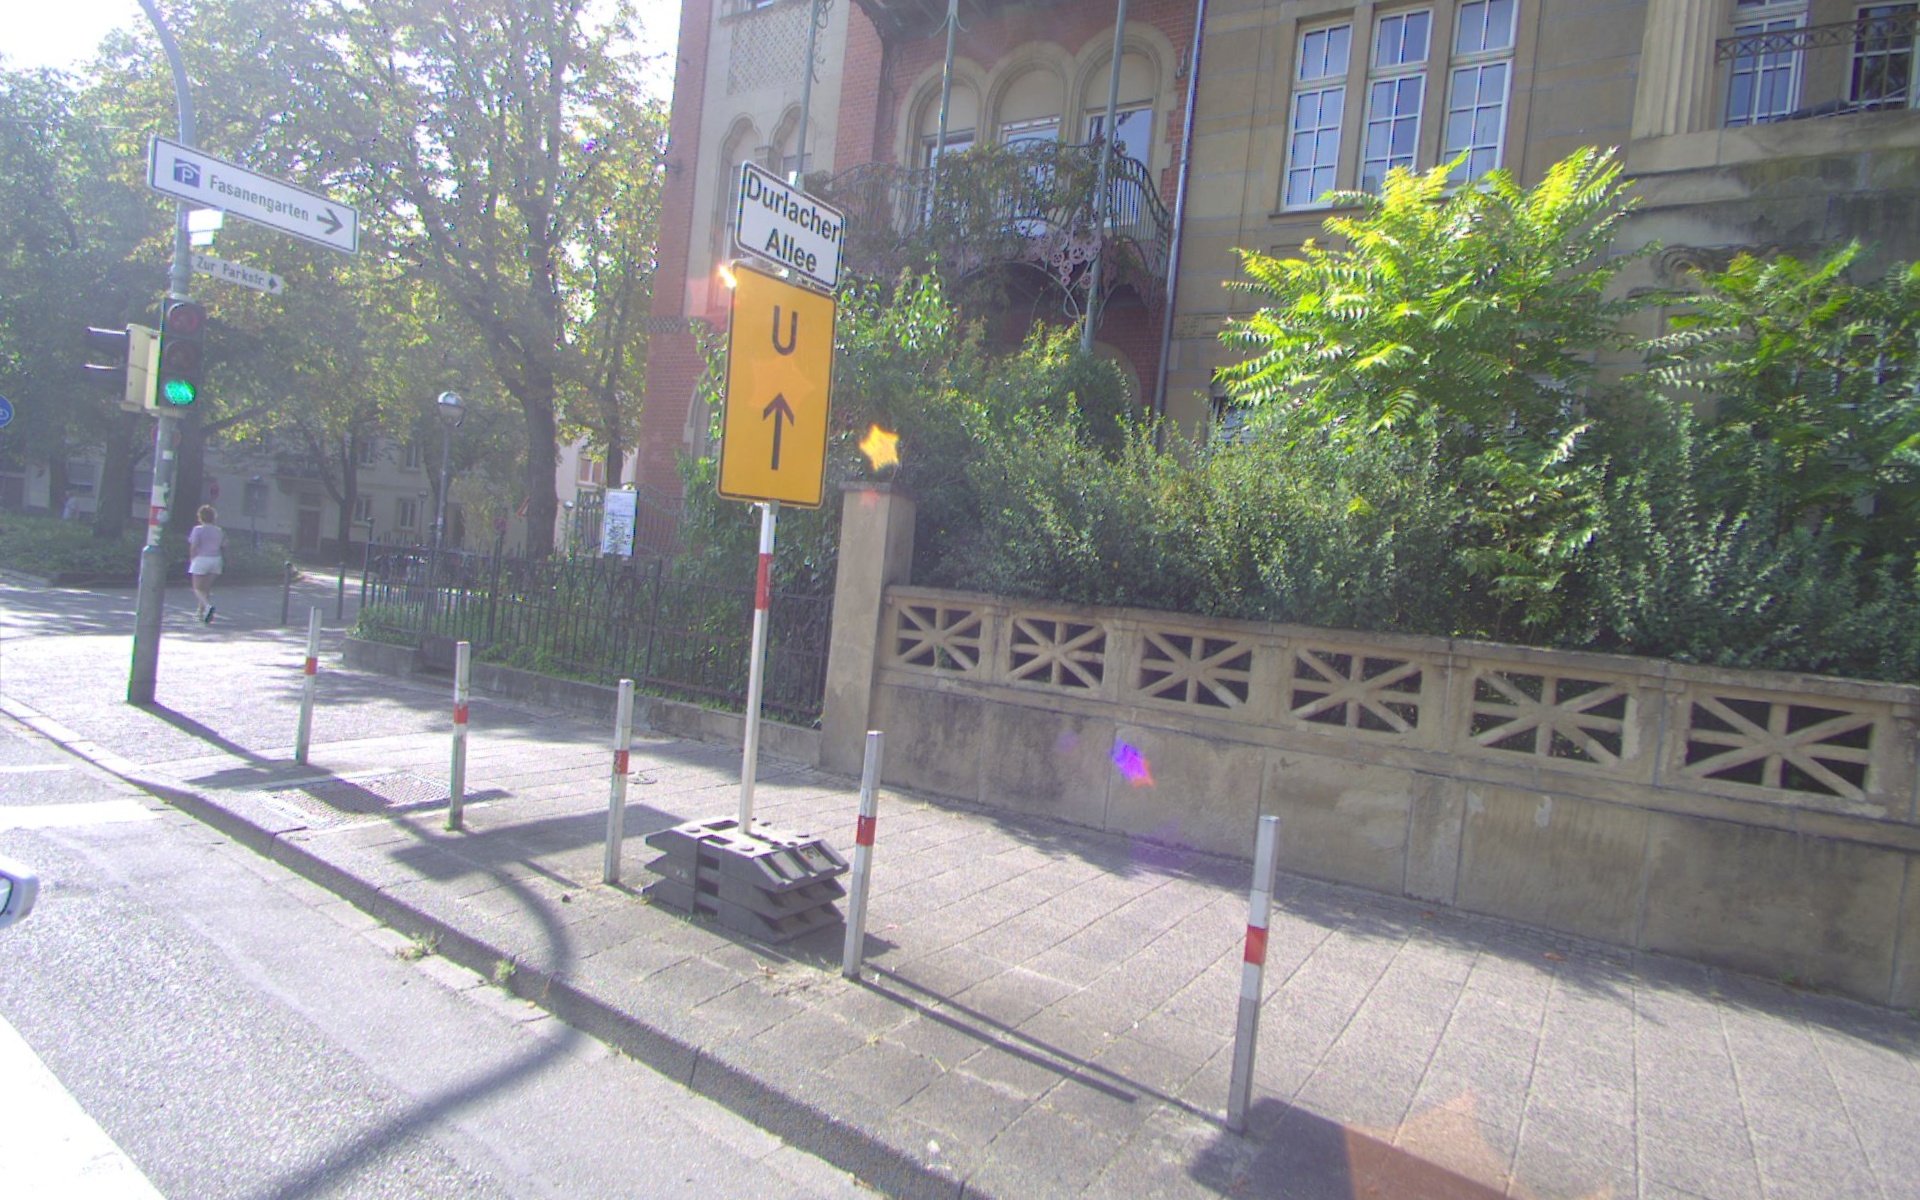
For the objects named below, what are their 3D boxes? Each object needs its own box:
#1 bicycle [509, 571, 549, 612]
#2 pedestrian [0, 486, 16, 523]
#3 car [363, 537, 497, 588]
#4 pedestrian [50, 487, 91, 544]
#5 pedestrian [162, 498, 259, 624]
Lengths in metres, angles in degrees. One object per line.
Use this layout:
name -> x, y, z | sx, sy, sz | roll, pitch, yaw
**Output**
bicycle -> -11.241, -0.231, 26.286 | 0.418, 0.990, 1.767 | 6, 0, -8
pedestrian -> -48.631, -4.861, 50.929 | 0.880, 1.762, 0.774 | 6, 1, -14
car -> -19.755, -1.379, 37.589 | 3.924, 1.436, 1.860 | 6, 0, 5
pedestrian -> -29.614, -2.794, 33.505 | 0.887, 1.762, 0.767 | 5, 1, -40
pedestrian -> -11.077, -0.560, 14.873 | 0.757, 1.753, 0.752 | 6, 1, 22
